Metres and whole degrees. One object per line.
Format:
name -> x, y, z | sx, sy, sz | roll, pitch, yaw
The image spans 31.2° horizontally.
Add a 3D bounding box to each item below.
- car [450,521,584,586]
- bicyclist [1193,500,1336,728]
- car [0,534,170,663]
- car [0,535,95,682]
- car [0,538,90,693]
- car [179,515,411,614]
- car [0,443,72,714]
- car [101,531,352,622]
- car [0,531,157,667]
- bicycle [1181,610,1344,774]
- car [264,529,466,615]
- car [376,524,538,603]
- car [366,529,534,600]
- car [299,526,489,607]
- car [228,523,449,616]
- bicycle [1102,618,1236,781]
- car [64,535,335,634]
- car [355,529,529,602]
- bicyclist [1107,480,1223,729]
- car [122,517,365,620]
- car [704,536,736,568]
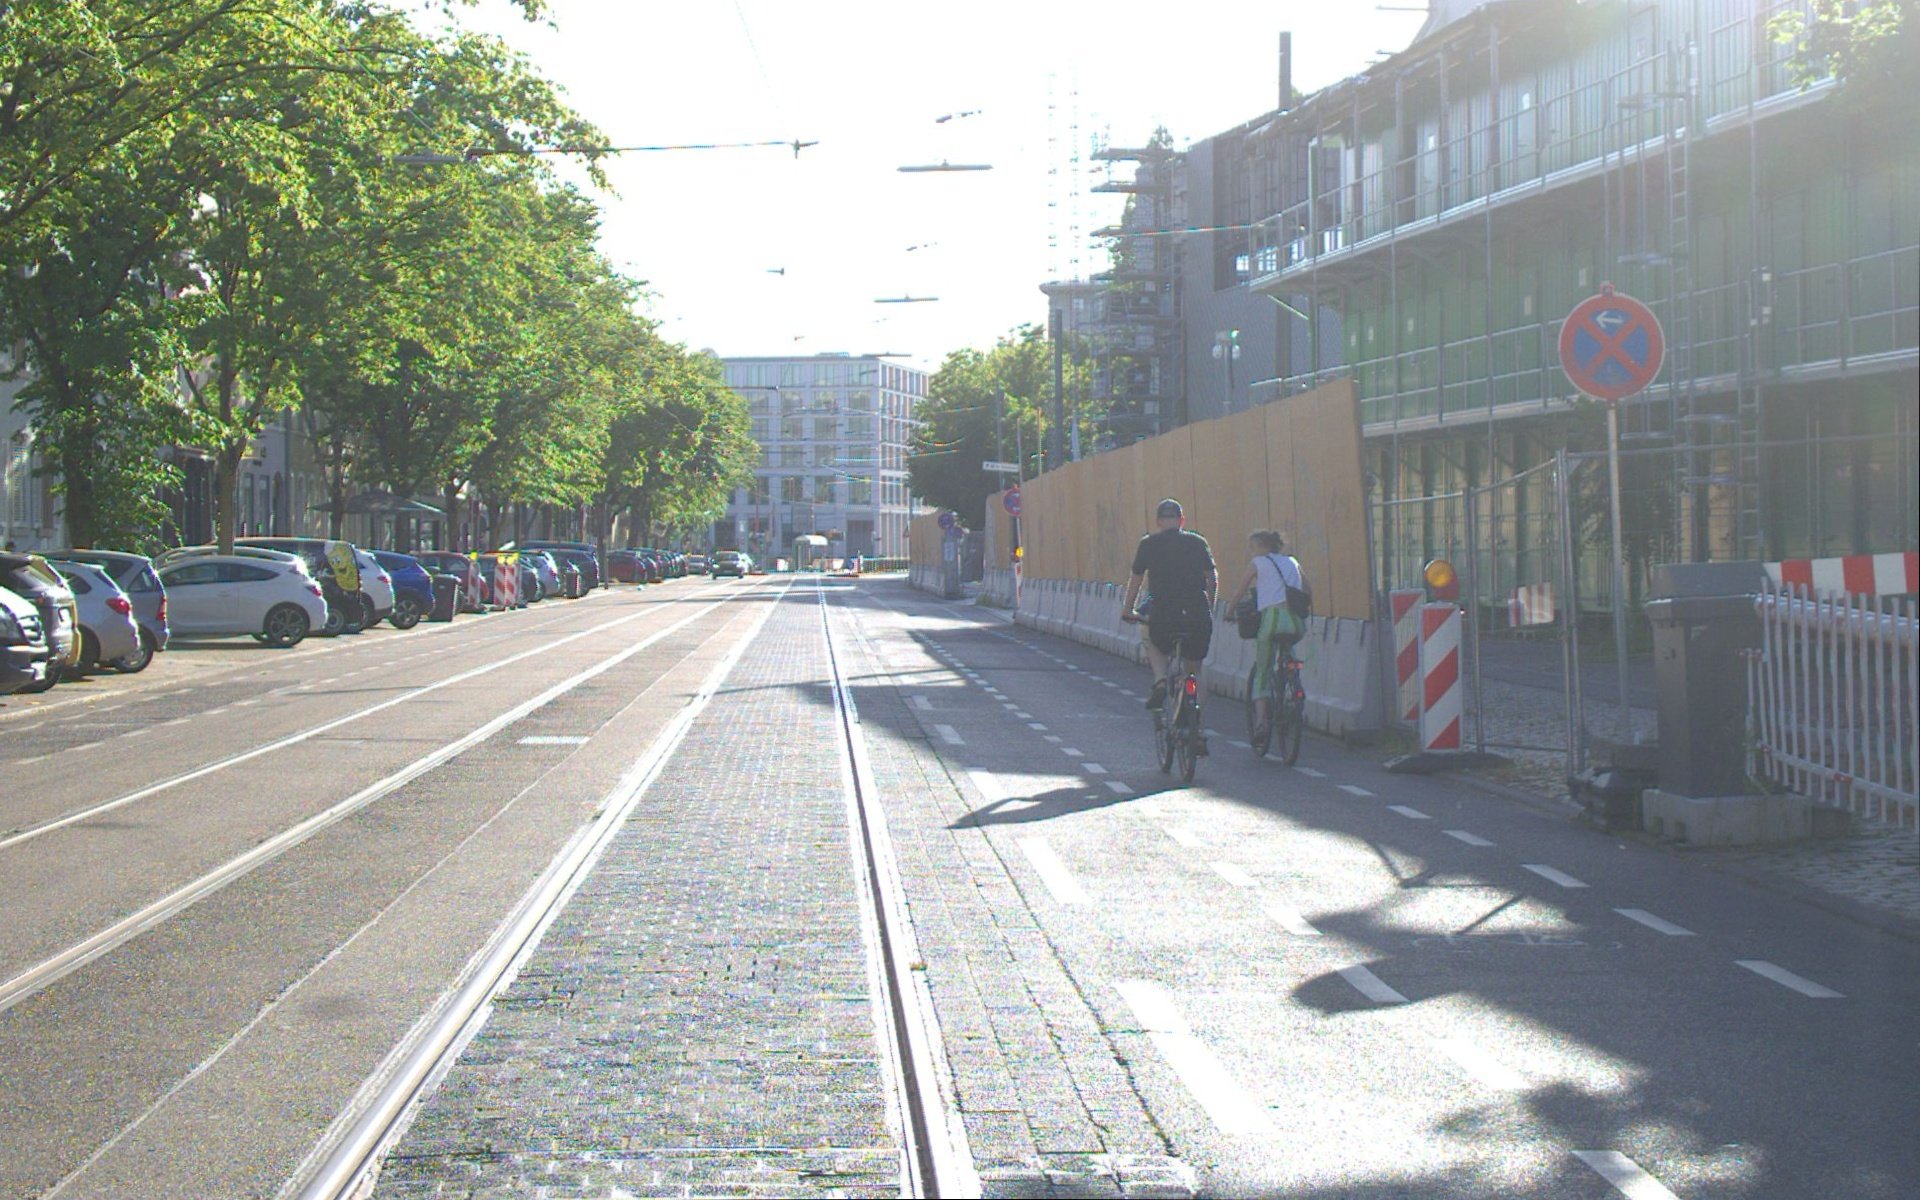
car -> -15.145, -1.588, 117.517 | 4.085, 2.047, 1.829 | 2, 0, -24
bicyclist -> 2.230, 0.091, 25.288 | 0.893, 1.634, 1.100 | 1, 1, -2
car -> -12.691, -0.071, 45.716 | 4.085, 1.602, 1.829 | 2, 0, -9
car -> -11.948, 0.020, 38.704 | 4.085, 1.602, 1.829 | 2, 0, -9
car -> -11.387, 0.136, 36.375 | 4.085, 1.602, 1.829 | 0, 1, -9
car -> -12.991, -0.695, 67.173 | 4.085, 1.748, 1.829 | 2, 0, -24
car -> -11.572, -0.315, 33.682 | 5.179, 2.569, 2.246 | 2, 0, -6
car -> -13.173, -0.419, 61.727 | 4.085, 1.448, 1.829 | 2, 0, -22
car -> -12.279, -0.068, 43.191 | 4.085, 1.602, 1.829 | 2, 0, -9
bicycle -> 2.213, 0.654, 25.480 | 0.893, 1.089, 2.430 | 1, 1, -2
car -> -13.379, -0.636, 77.268 | 4.085, 1.748, 1.829 | 2, 0, -24
car -> -14.067, -1.020, 96.150 | 4.085, 2.047, 1.829 | 2, 0, -24
car -> -13.828, -0.970, 93.219 | 4.085, 1.748, 1.829 | 2, 0, -24
car -> -13.496, -0.807, 81.963 | 4.085, 1.748, 1.829 | 2, 0, -24
car -> -12.799, -0.627, 70.804 | 4.085, 1.748, 1.829 | 2, 0, -24
bicycle -> 1.396, 0.651, 23.280 | 0.680, 1.015, 1.922 | -1, 1, -3
car -> -12.628, -0.260, 57.072 | 4.085, 1.448, 1.829 | 2, 0, -22
car -> -13.541, -0.900, 89.883 | 4.085, 1.748, 1.829 | 2, 0, -24
bicyclist -> 1.383, 0.024, 23.329 | 0.680, 1.652, 0.812 | -1, 1, -3
car -> -13.395, -0.582, 64.290 | 4.085, 1.748, 1.829 | 2, 0, -24
car -> -14.357, -2.851, 205.546 | 1.680, 1.831, 3.873 | 2, 0, -6
